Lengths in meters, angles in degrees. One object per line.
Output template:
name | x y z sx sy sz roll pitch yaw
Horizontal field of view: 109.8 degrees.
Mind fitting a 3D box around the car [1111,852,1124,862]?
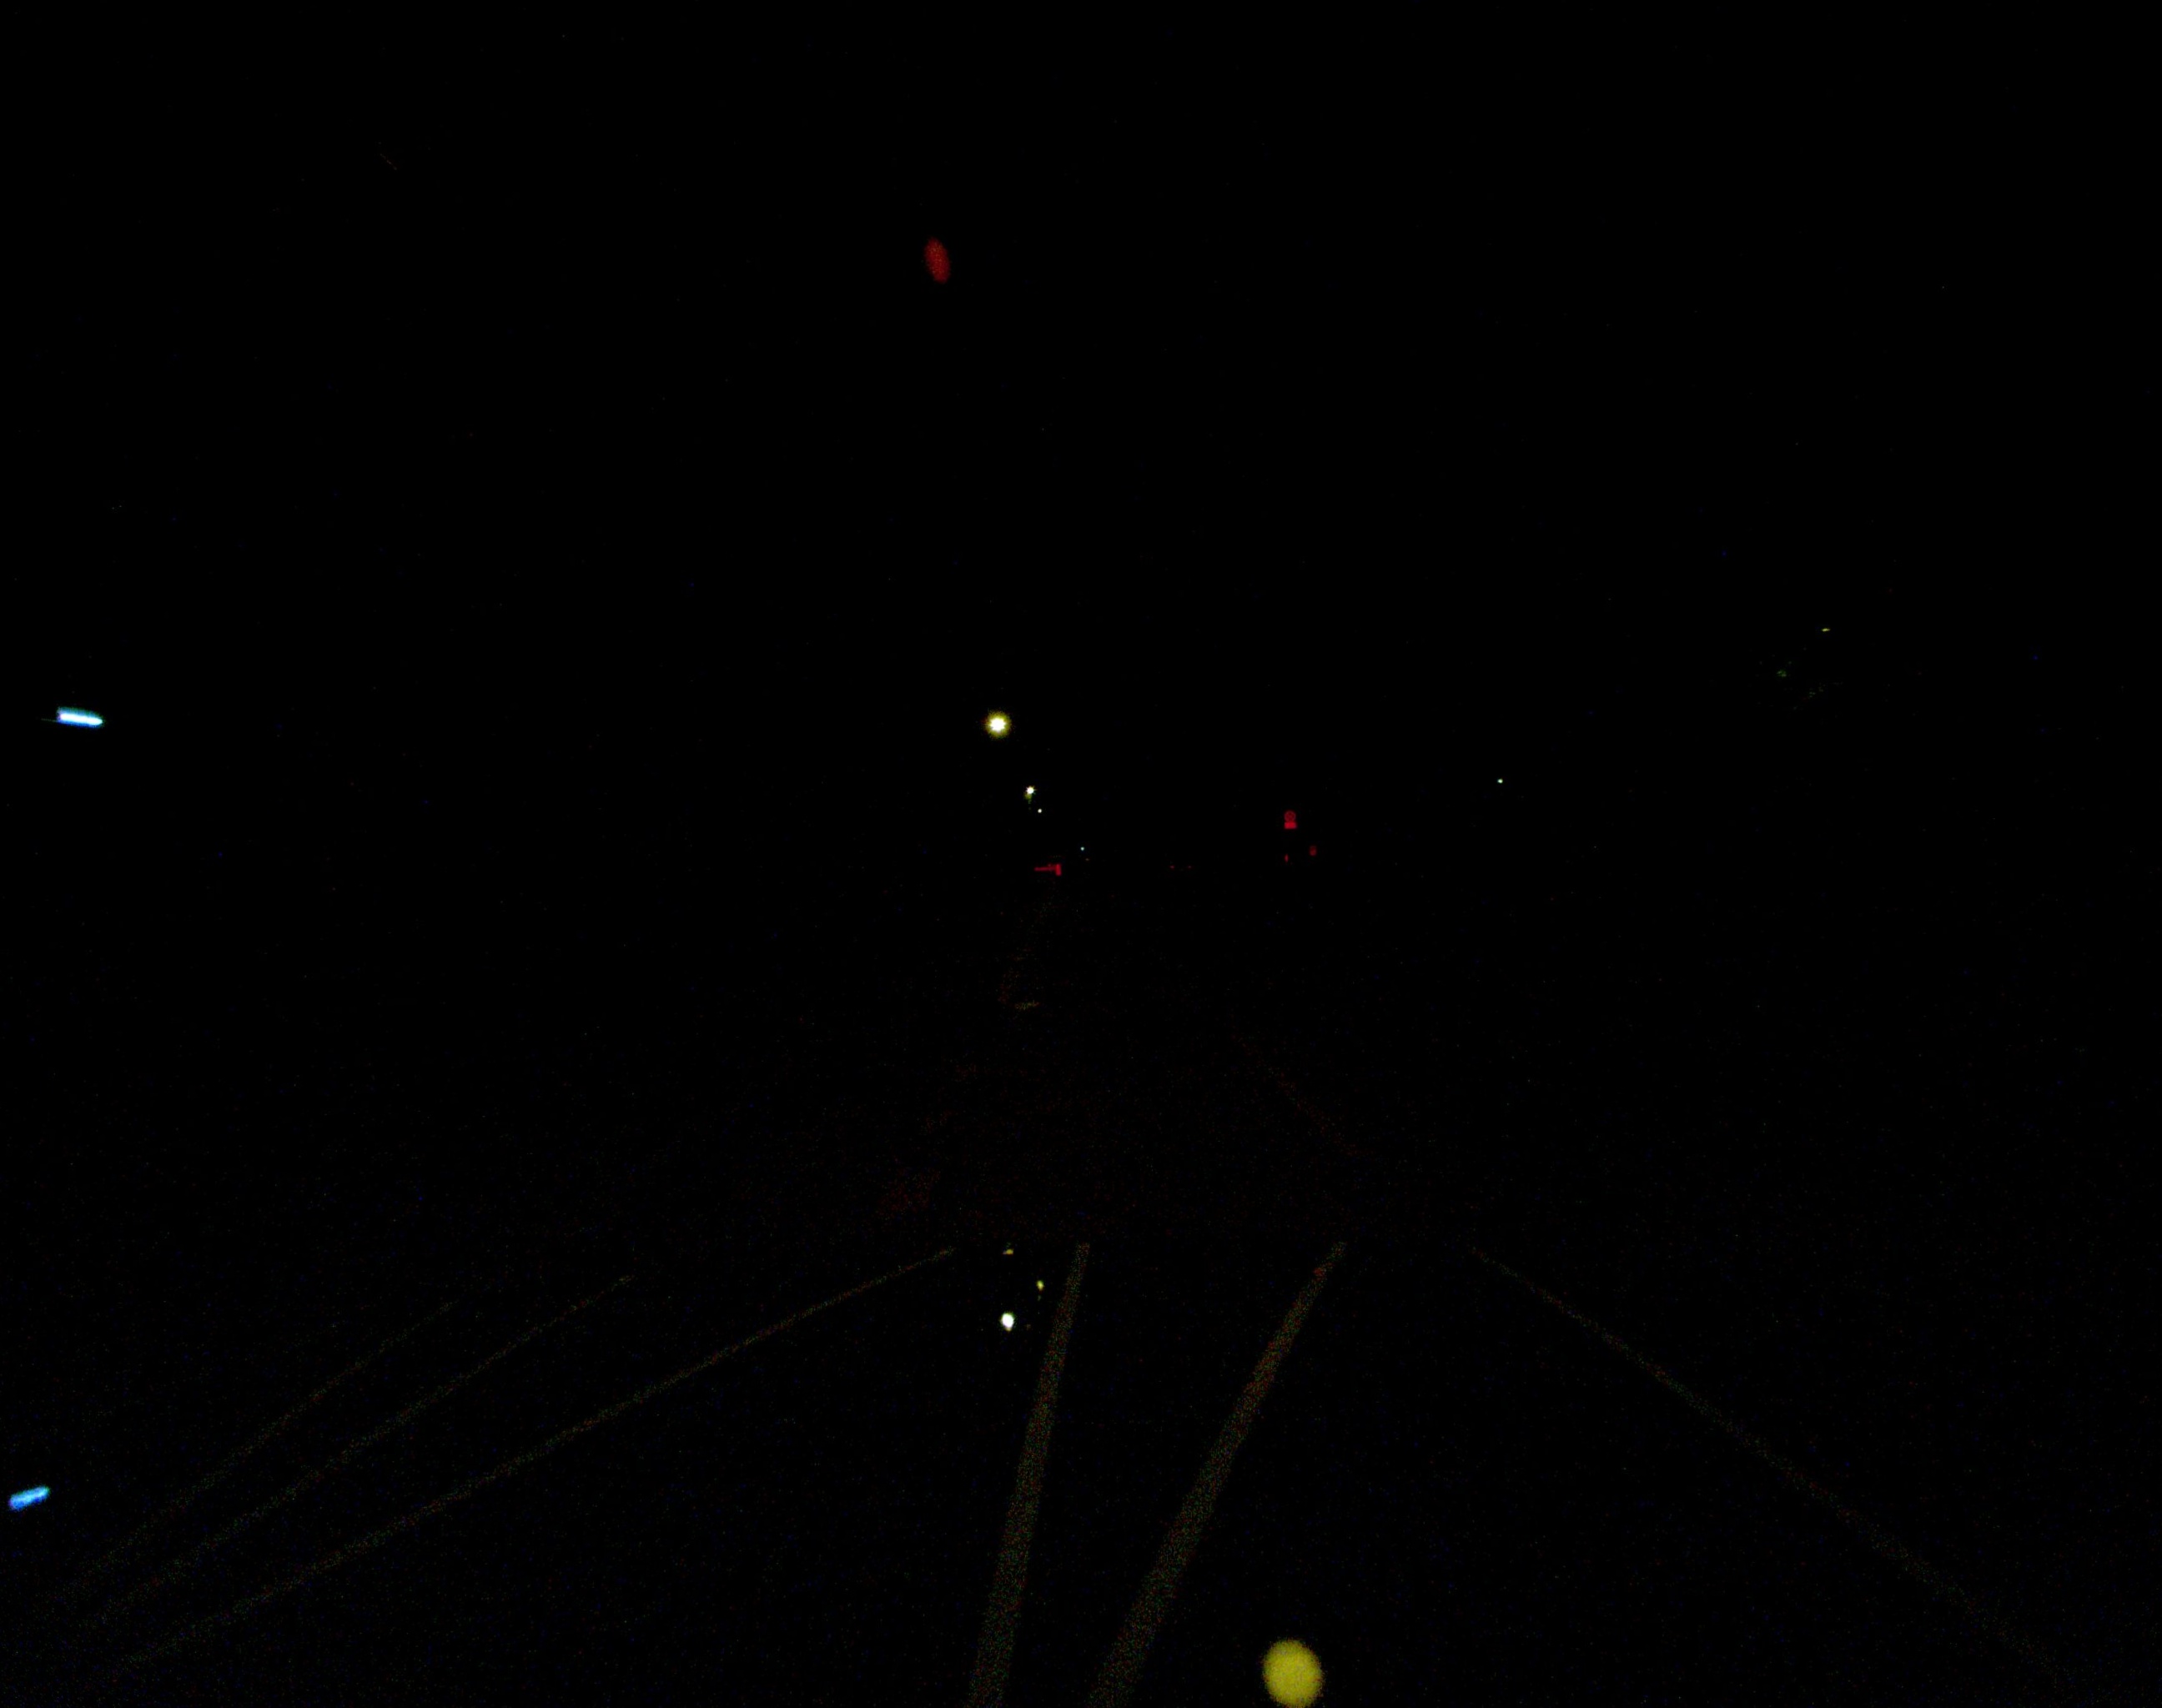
car | 5.558 0.425 116.806 1.911 1.445 3.999 -2 1 1

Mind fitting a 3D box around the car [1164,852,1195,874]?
car | 7.616 0.656 59.005 1.911 1.445 3.999 -2 1 1

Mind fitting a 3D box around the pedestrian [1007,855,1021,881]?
pedestrian | -4.731 0.972 53.530 0.824 1.809 0.608 -2 1 1

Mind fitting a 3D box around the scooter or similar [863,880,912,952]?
scooter or similar | -3.638 1.139 14.381 0.570 1.271 1.391 0 0 1

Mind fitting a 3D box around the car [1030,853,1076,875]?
car | -2.542 0.890 68.851 3.997 1.821 1.912 -2 2 1

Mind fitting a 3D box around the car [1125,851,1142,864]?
car | 6.779 0.467 98.478 1.911 1.445 3.999 -2 1 1
